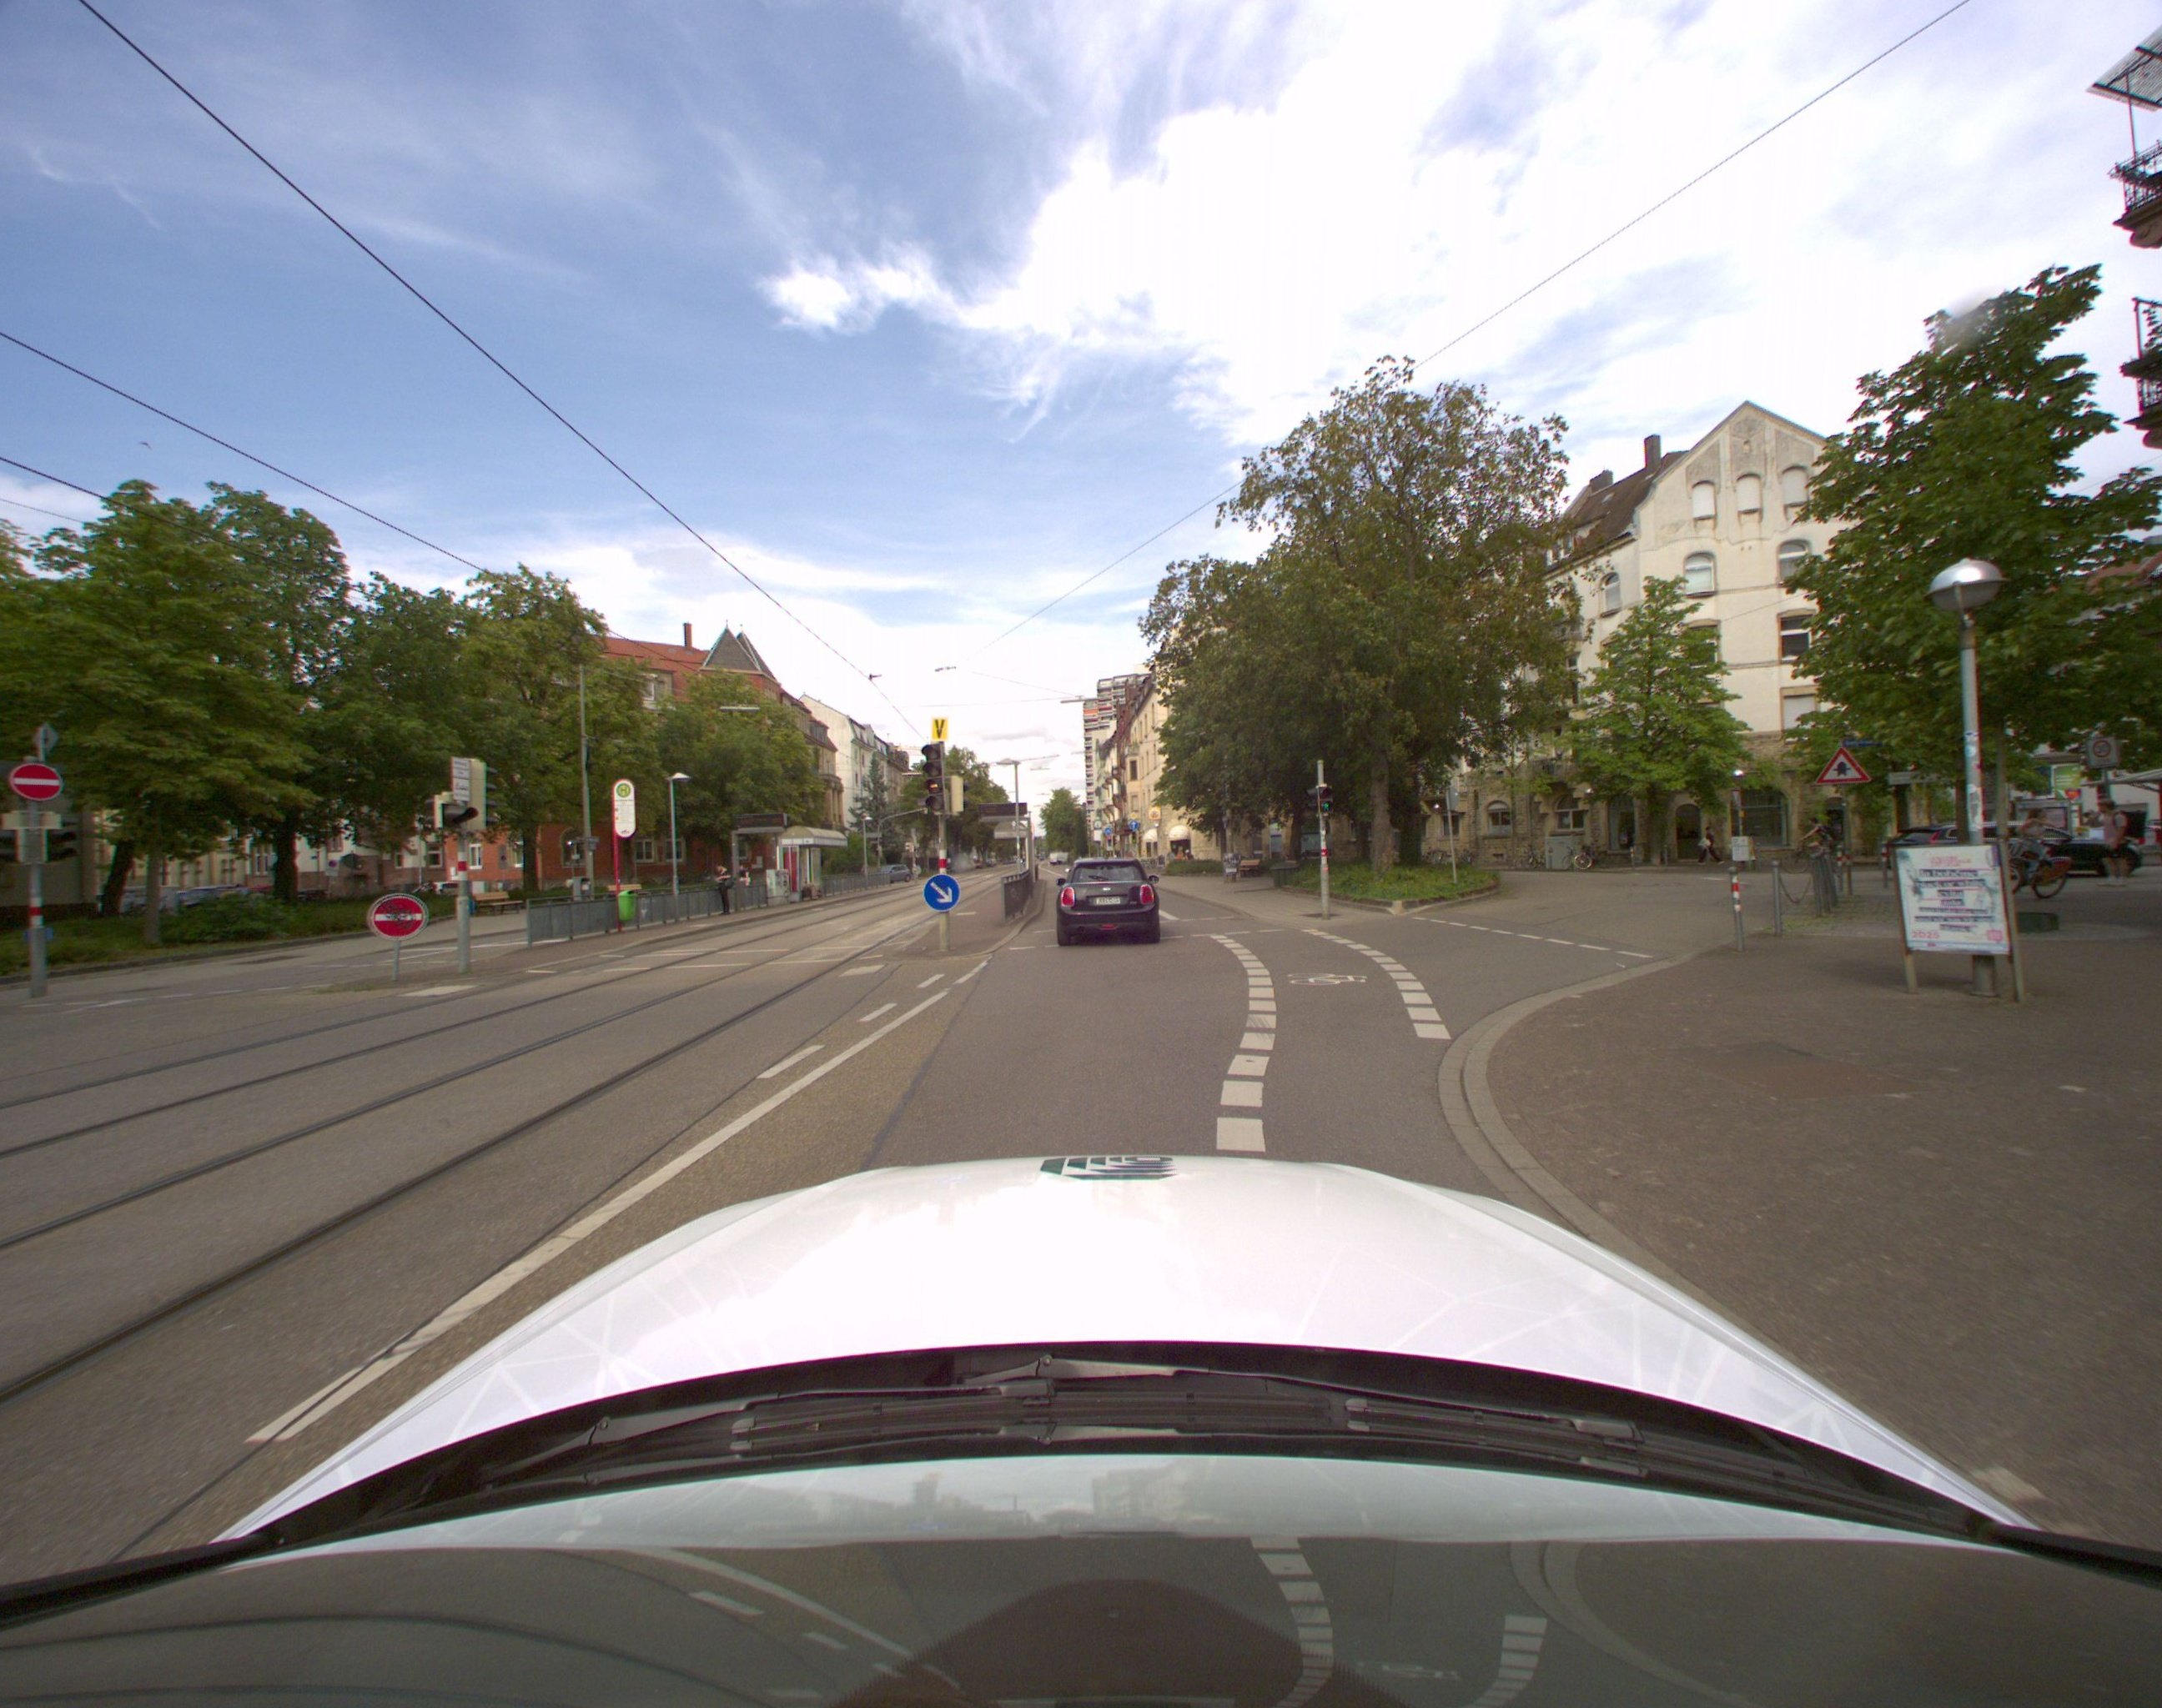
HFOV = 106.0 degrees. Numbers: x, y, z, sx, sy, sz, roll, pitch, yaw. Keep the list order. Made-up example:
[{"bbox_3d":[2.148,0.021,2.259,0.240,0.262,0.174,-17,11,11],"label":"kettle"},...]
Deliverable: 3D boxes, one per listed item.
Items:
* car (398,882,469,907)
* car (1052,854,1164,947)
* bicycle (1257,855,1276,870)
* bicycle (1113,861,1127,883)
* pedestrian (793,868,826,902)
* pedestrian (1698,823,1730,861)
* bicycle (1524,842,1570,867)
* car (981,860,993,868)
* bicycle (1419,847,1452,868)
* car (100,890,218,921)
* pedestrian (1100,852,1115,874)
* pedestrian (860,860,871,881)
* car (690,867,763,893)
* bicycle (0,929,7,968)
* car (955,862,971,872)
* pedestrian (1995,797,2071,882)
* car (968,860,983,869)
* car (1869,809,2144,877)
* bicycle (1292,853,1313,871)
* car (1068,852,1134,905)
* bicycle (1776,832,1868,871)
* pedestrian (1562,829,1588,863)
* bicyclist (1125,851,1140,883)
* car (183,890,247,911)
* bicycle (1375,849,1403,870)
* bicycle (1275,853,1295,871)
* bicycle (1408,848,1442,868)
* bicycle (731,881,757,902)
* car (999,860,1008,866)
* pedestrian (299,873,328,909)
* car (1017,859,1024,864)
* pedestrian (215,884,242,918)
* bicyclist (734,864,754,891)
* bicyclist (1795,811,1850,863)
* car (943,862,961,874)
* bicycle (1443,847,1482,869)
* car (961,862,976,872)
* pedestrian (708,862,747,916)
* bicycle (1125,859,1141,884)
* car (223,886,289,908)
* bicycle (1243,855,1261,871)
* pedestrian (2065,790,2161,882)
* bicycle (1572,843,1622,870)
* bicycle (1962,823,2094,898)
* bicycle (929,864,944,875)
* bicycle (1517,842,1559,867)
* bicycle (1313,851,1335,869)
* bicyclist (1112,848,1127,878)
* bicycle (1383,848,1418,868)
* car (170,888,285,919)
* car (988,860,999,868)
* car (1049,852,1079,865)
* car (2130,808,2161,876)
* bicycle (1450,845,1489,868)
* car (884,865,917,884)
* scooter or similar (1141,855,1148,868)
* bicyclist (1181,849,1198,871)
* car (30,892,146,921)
[{"bbox_3d":[-42.547,2.654,53.536,3.953,1.478,1.825,-3,0,20],"label":"car"},{"bbox_3d":[0.494,0.729,14.745,1.745,1.441,4.002,-1,0,2],"label":"car"},{"bbox_3d":[12.961,0.590,56.921,0.526,0.972,1.660,-3,0,40],"label":"bicycle"},{"bbox_3d":[2.148,0.976,45.010,0.682,1.170,1.696,-3,0,0],"label":"bicycle"},{"bbox_3d":[-11.133,1.267,33.396,1.058,1.293,0.983,-2,0,-8],"label":"pedestrian"},{"bbox_3d":[27.443,-0.515,35.328,0.826,1.623,0.736,-2,0,17],"label":"pedestrian"},{"bbox_3d":[22.567,0.028,39.458,1.879,1.128,0.533,-2,0,3],"label":"bicycle"},{"bbox_3d":[-19.083,2.045,165.207,1.988,1.552,3.997,-2,0,-2],"label":"car"},{"bbox_3d":[20.469,0.217,46.983,1.897,1.128,0.590,-2,0,-25],"label":"bicycle"},{"bbox_3d":[-52.251,2.892,46.247,1.794,1.395,4.020,-3,0,20],"label":"car"},{"bbox_3d":[2.266,0.753,68.435,0.723,1.674,0.840,-6,0,44],"label":"pedestrian"},{"bbox_3d":[-18.767,1.456,70.870,0.728,1.783,0.835,-2,0,-2],"label":"pedestrian"},{"bbox_3d":[-23.445,1.723,53.962,1.792,1.478,4.026,-3,0,35],"label":"car"},{"bbox_3d":[-26.119,2.285,19.044,0.610,0.936,1.561,-3,0,-30],"label":"bicycle"},{"bbox_3d":[-16.738,1.830,115.562,1.763,1.395,3.996,-3,0,-3],"label":"car"},{"bbox_3d":[20.267,-0.301,17.355,0.723,1.729,0.899,-4,0,30],"label":"pedestrian"},{"bbox_3d":[-18.415,1.848,142.264,1.988,1.552,3.997,-2,0,-2],"label":"car"},{"bbox_3d":[23.183,-0.252,20.581,4.437,1.441,1.762,-2,0,10],"label":"car"},{"bbox_3d":[14.906,0.503,54.772,0.526,1.128,1.906,-3,0,40],"label":"bicycle"},{"bbox_3d":[0.607,0.737,26.428,1.921,1.510,3.999,-3,0,0],"label":"car"},{"bbox_3d":[23.922,-0.069,26.337,2.076,1.152,0.659,-3,0,27],"label":"bicycle"},{"bbox_3d":[24.835,-0.401,40.961,0.730,1.676,0.833,-2,0,-9],"label":"pedestrian"},{"bbox_3d":[2.559,0.623,40.595,0.593,1.550,1.013,-3,0,-2],"label":"bicyclist"},{"bbox_3d":[-64.859,3.485,60.991,3.953,1.395,1.825,-3,0,20],"label":"car"},{"bbox_3d":[18.920,0.324,50.033,1.901,1.127,0.527,-4,0,-33],"label":"bicycle"},{"bbox_3d":[13.953,0.527,55.590,0.526,1.128,1.906,-3,0,40],"label":"bicycle"},{"bbox_3d":[20.143,0.231,47.728,1.893,1.128,0.579,-2,0,-20],"label":"bicycle"},{"bbox_3d":[-16.798,1.879,40.676,0.659,0.949,1.549,-2,0,-2],"label":"bicycle"},{"bbox_3d":[-20.780,2.375,217.597,1.988,1.552,3.997,-2,0,-2],"label":"car"},{"bbox_3d":[-39.319,1.889,41.706,0.745,1.754,0.736,-3,0,16],"label":"pedestrian"},{"bbox_3d":[-16.997,2.075,229.034,1.763,1.395,3.996,-3,0,-3],"label":"car"},{"bbox_3d":[-45.040,2.473,43.034,0.724,1.754,0.687,-3,0,18],"label":"pedestrian"},{"bbox_3d":[-16.831,1.167,40.680,0.659,1.339,0.835,-2,0,-2],"label":"bicyclist"},{"bbox_3d":[23.934,-0.546,26.320,1.125,1.606,0.650,-3,0,27],"label":"bicyclist"},{"bbox_3d":[-16.420,1.786,103.601,1.763,1.395,3.996,-3,0,-3],"label":"car"},{"bbox_3d":[21.179,0.220,45.215,1.885,1.128,0.531,-2,0,-6],"label":"bicycle"},{"bbox_3d":[-16.981,1.966,123.277,1.763,1.395,3.996,-3,0,-3],"label":"car"},{"bbox_3d":[-11.040,1.079,25.425,0.851,1.621,0.841,-2,0,-8],"label":"pedestrian"},{"bbox_3d":[2.572,0.874,40.597,0.597,1.170,1.695,-3,0,-2],"label":"bicycle"},{"bbox_3d":[-60.161,3.156,59.388,3.953,1.395,1.825,-3,0,20],"label":"car"},{"bbox_3d":[12.119,0.606,57.725,0.444,1.055,1.660,-3,0,40],"label":"bicycle"},{"bbox_3d":[20.470,-0.354,16.160,0.882,1.729,0.761,-4,0,21],"label":"pedestrian"},{"bbox_3d":[23.078,0.111,36.437,1.882,1.128,0.532,-2,0,-2],"label":"bicycle"},{"bbox_3d":[15.765,0.104,13.568,1.667,1.144,0.670,-3,0,-11],"label":"bicycle"},{"bbox_3d":[-17.017,1.829,96.100,1.681,1.119,0.566,-3,0,-42],"label":"bicycle"},{"bbox_3d":[22.651,0.023,40.366,1.890,1.128,0.530,-2,0,-14],"label":"bicycle"},{"bbox_3d":[15.986,0.404,53.601,0.659,1.128,1.906,-3,0,40],"label":"bicycle"},{"bbox_3d":[2.129,0.495,44.955,0.682,1.564,0.998,-3,0,0],"label":"bicyclist"},{"bbox_3d":[19.352,0.267,49.342,1.888,1.128,0.561,-2,0,-11],"label":"bicycle"},{"bbox_3d":[-47.419,2.740,45.346,1.794,1.395,4.020,-3,0,20],"label":"car"},{"bbox_3d":[-19.455,2.179,181.426,1.988,1.552,3.997,-2,0,-2],"label":"car"},{"bbox_3d":[-3.129,0.797,148.474,5.068,2.272,2.368,-2,0,-43],"label":"car"},{"bbox_3d":[24.898,-0.331,16.595,3.954,1.441,1.827,-2,0,19],"label":"car"},{"bbox_3d":[21.277,0.140,44.635,1.885,1.128,0.531,-2,0,-6],"label":"bicycle"},{"bbox_3d":[-14.448,1.643,65.236,1.746,1.441,3.999,-1,0,0],"label":"car"},{"bbox_3d":[6.028,0.696,77.522,0.507,1.188,1.260,-3,0,-2],"label":"scooter or similar"},{"bbox_3d":[7.751,0.424,58.234,0.903,1.473,0.621,-3,0,38],"label":"bicyclist"},{"bbox_3d":[-59.612,3.126,48.999,1.794,1.395,4.020,-3,0,20],"label":"car"}]
